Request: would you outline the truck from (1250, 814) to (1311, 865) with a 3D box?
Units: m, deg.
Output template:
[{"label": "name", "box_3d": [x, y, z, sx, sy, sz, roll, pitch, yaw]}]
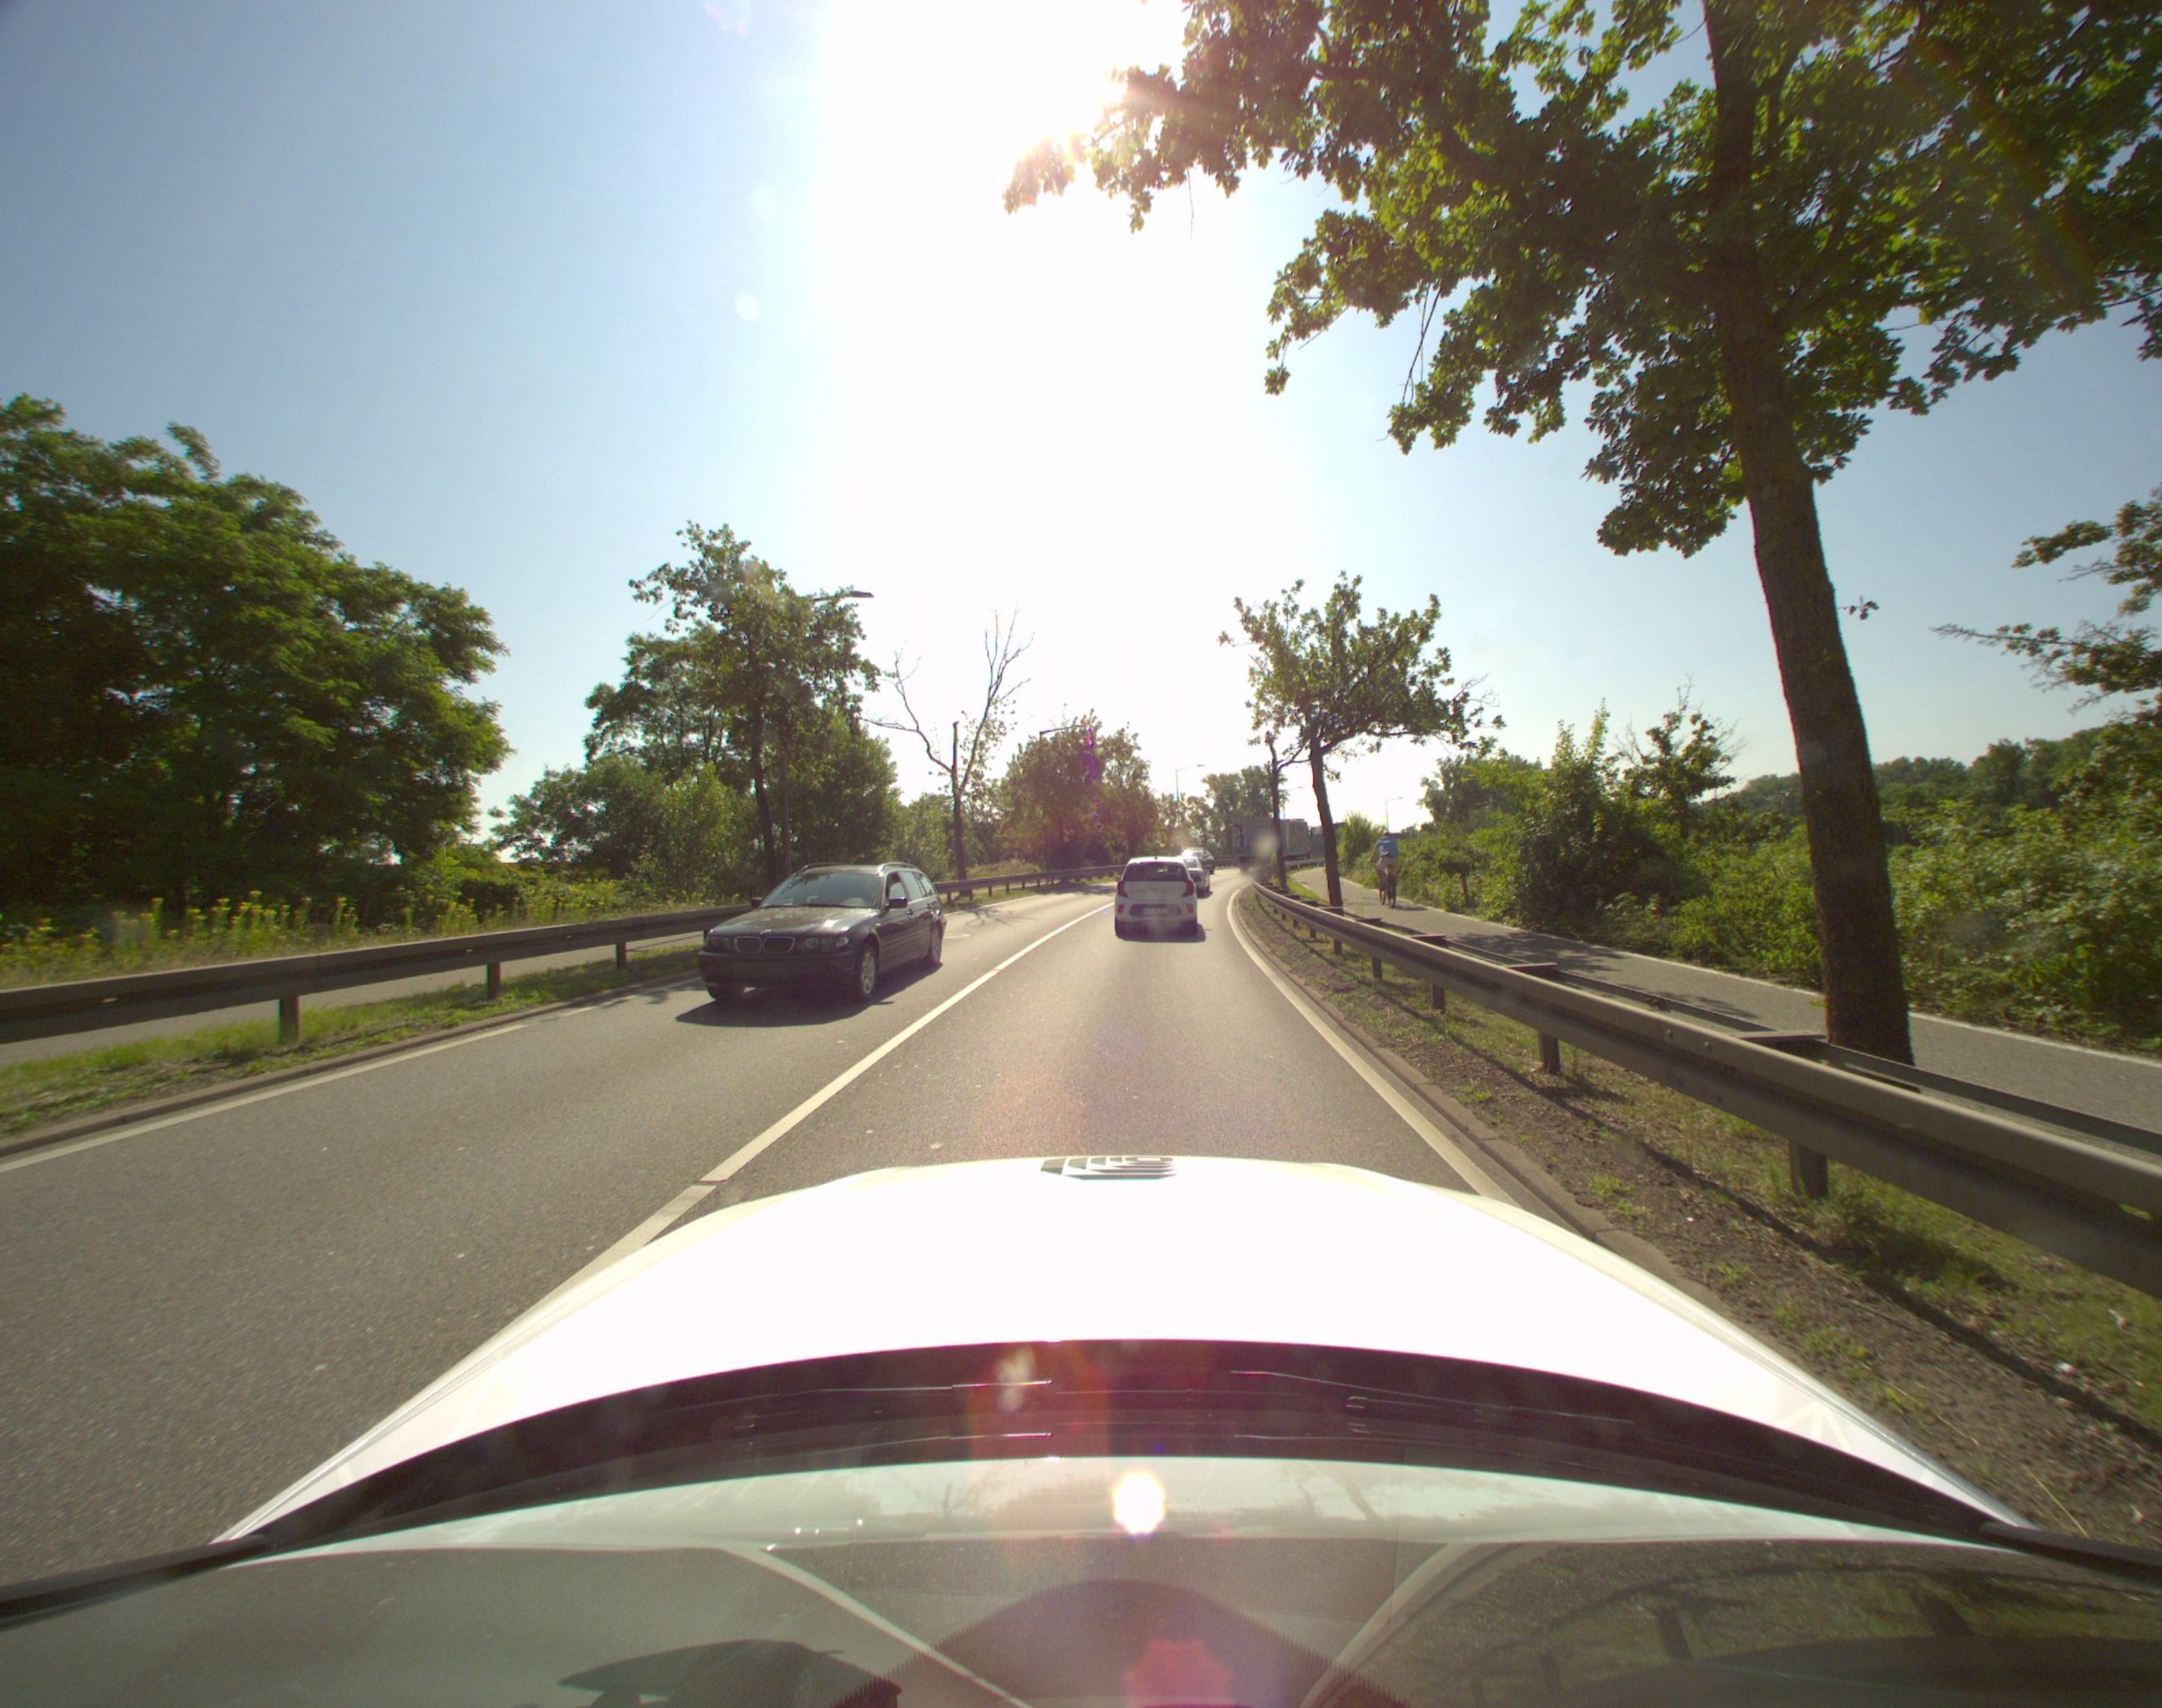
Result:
[{"label": "truck", "box_3d": [15.652, -1.195, 63.469, 3.231, 3.757, 8.418, 0, 2, 23]}]

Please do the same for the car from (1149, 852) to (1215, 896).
[{"label": "car", "box_3d": [3.837, 0.687, 30.175, 1.925, 1.486, 4.917, -1, 0, 13]}]

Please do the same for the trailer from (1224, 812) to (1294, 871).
[{"label": "trailer", "box_3d": [12.423, -0.927, 56.179, 3.195, 3.757, 7.869, 0, 2, 24]}]

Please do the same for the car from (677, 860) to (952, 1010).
[{"label": "car", "box_3d": [-2.940, 0.804, 10.025, 1.693, 1.448, 4.127, 0, 0, 5]}]

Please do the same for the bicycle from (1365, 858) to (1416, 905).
[{"label": "bicycle", "box_3d": [7.331, 0.636, 19.375, 0.698, 1.020, 1.850, -5, -2, 9]}]

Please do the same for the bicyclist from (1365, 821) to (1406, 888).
[{"label": "bicyclist", "box_3d": [7.296, 0.019, 19.529, 0.654, 1.520, 0.805, -5, -2, 8]}]

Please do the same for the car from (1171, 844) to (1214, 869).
[{"label": "car", "box_3d": [7.241, 0.157, 52.430, 1.914, 1.533, 4.138, -1, 0, 19]}]

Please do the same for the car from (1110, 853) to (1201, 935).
[{"label": "car", "box_3d": [1.620, 0.753, 17.226, 1.693, 1.494, 4.008, 0, 0, 7]}]
